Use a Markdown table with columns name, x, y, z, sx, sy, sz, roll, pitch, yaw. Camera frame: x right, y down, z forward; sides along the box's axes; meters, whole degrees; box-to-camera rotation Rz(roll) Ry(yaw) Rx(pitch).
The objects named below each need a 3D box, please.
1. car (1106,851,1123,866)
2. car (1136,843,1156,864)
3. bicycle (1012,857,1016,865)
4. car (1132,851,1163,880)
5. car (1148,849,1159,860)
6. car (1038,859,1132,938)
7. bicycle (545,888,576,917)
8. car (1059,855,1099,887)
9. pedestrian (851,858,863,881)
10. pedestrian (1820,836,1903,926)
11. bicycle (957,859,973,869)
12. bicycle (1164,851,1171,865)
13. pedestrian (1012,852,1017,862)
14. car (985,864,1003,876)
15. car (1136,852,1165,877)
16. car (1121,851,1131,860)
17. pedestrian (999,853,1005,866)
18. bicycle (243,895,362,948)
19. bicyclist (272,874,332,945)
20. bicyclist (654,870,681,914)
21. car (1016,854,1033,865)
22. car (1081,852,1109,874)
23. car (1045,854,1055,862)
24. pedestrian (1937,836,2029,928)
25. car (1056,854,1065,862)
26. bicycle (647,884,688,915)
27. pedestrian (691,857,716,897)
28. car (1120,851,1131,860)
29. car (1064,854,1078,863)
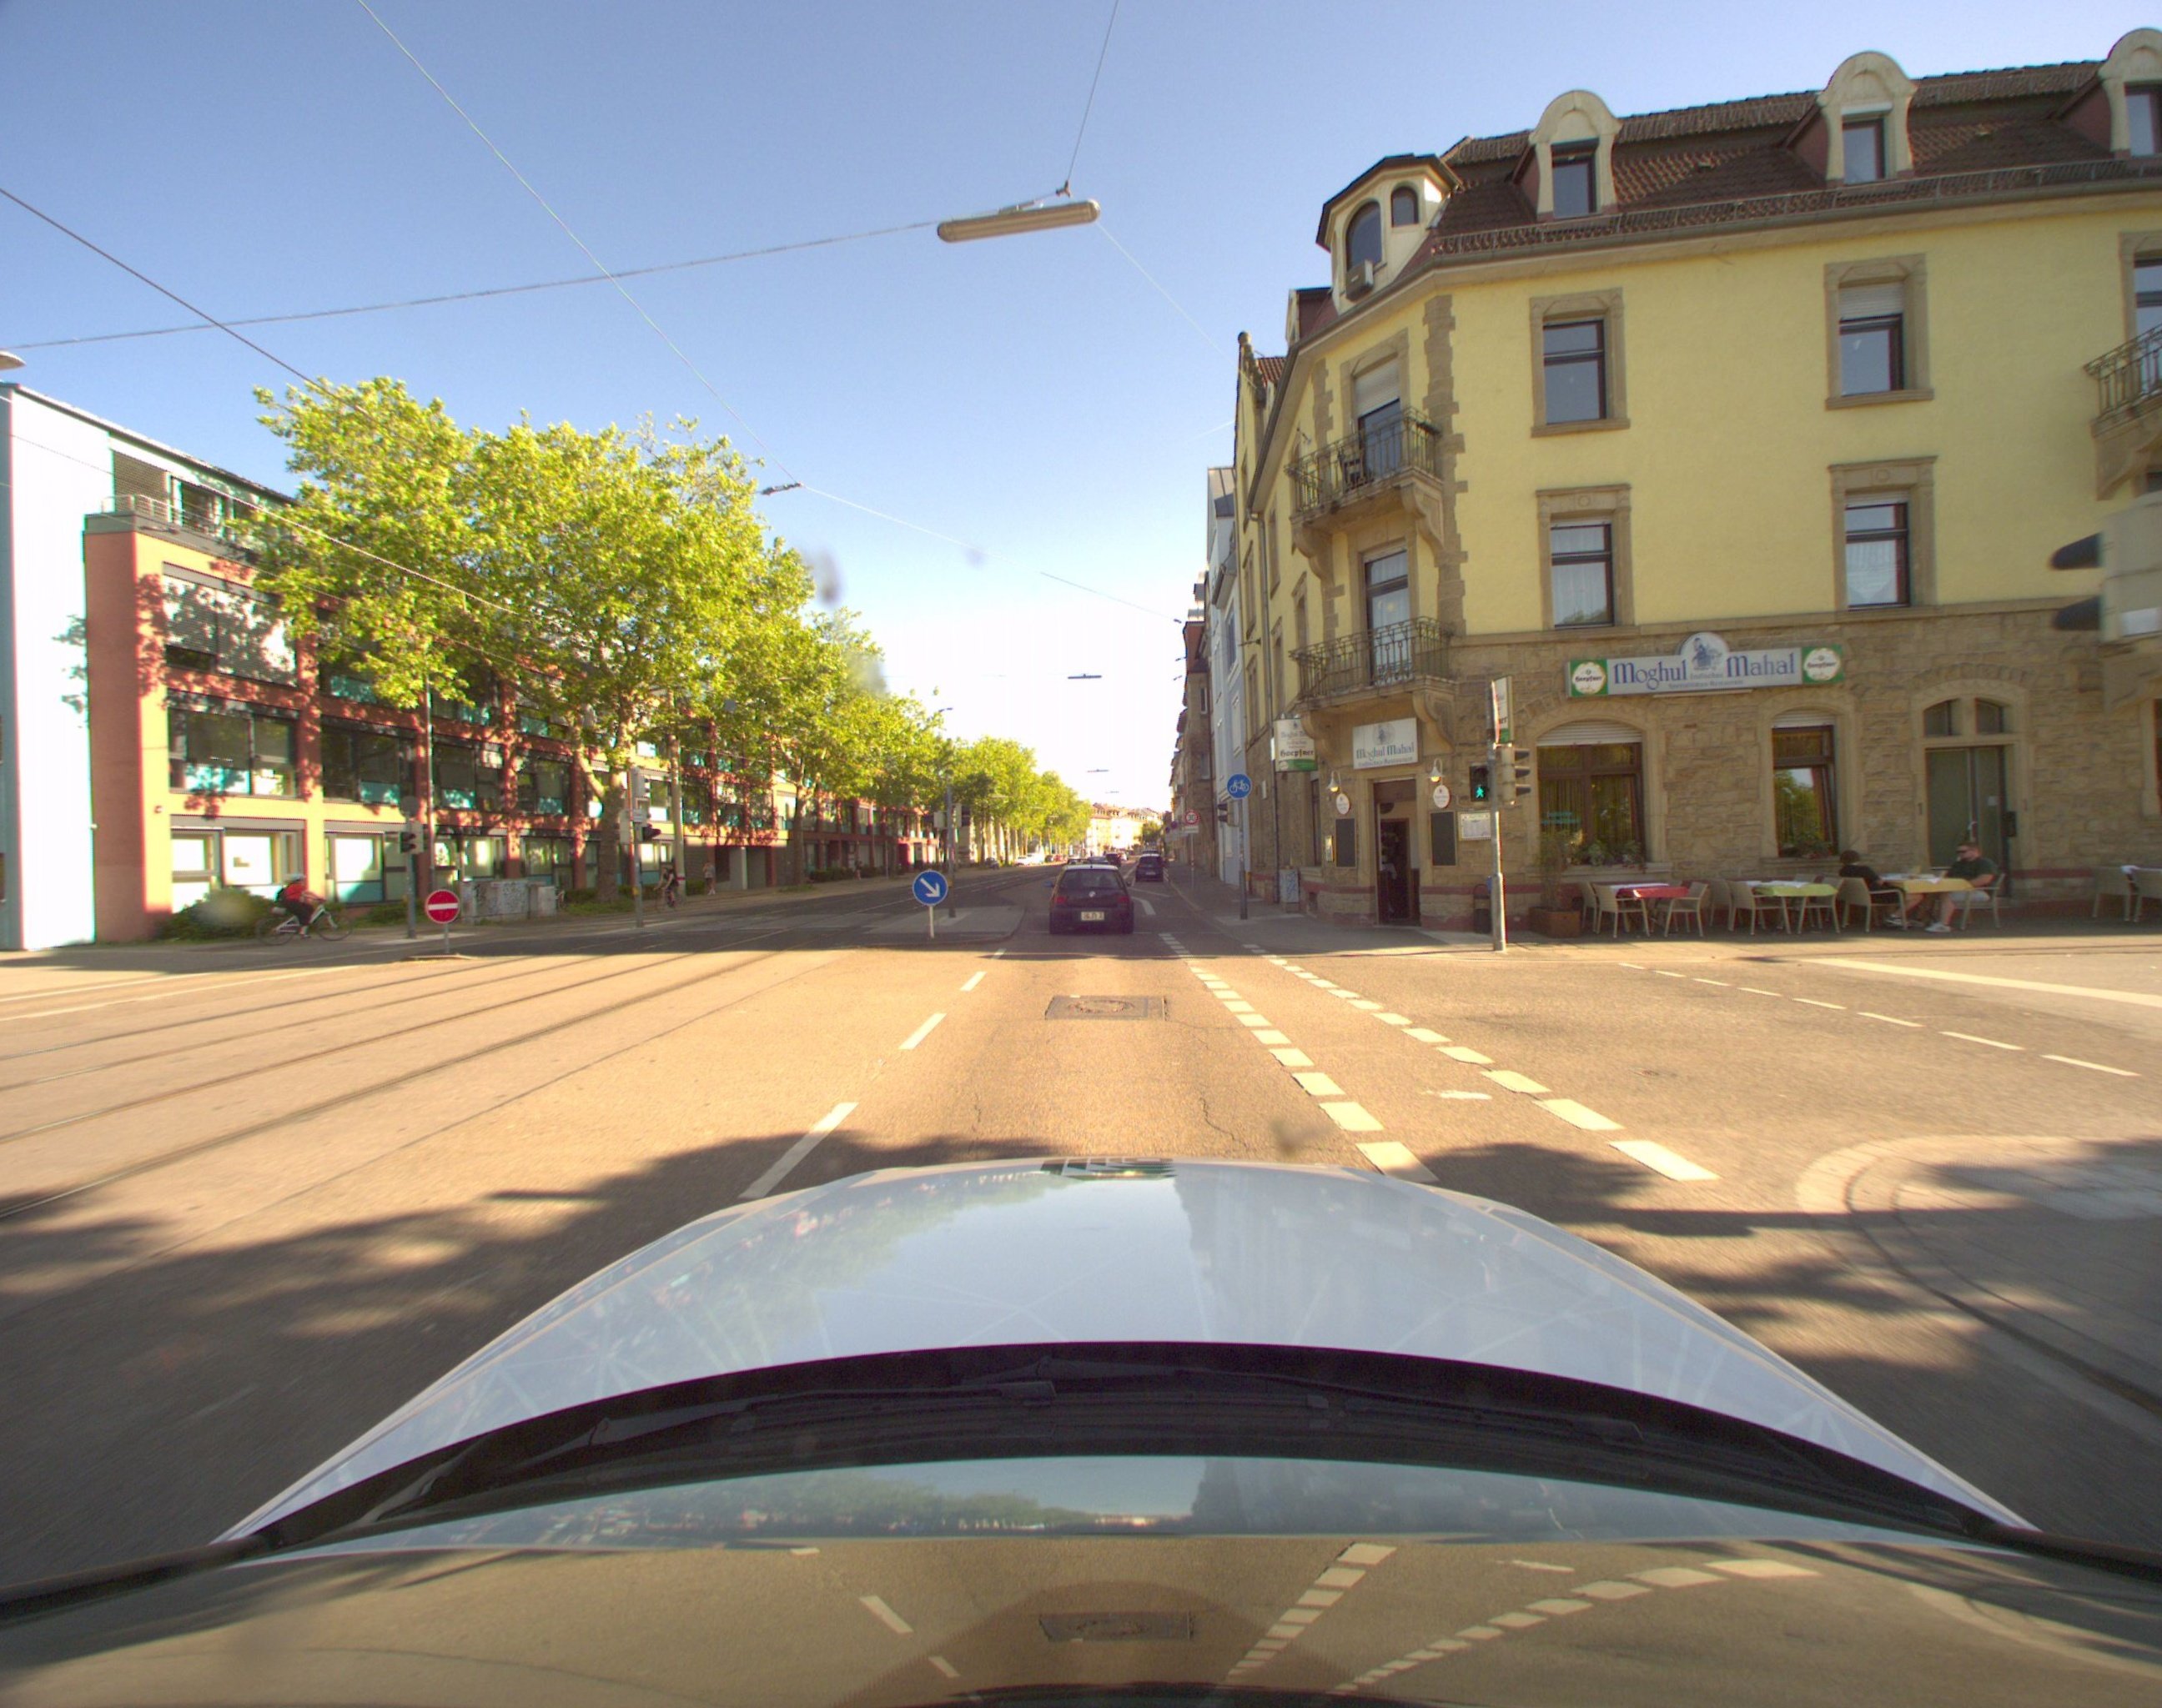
| name | x | y | z | sx | sy | sz | roll | pitch | yaw |
| --- | --- | --- | --- | --- | --- | --- | --- | --- | --- |
| car | 3.591 | 0.434 | 86.151 | 1.628 | 1.472 | 3.734 | -2 | 0 | 5 |
| car | 6.140 | -0.078 | 76.704 | 1.744 | 1.855 | 4.822 | -1 | 0 | 5 |
| bicycle | -9.843 | 1.046 | 119.711 | 0.579 | 1.209 | 1.653 | 0 | 0 | -1 |
| car | 3.731 | 0.615 | 45.875 | 1.647 | 1.482 | 4.005 | -1 | 0 | 4 |
| car | 12.423 | 0.059 | 139.980 | 1.751 | 1.837 | 3.552 | 0 | 1 | 5 |
| car | 0.200 | 0.871 | 17.613 | 1.741 | 1.375 | 4.004 | -2 | 0 | 3 |
| bicycle | -18.318 | 1.694 | 28.683 | 0.522 | 0.906 | 1.534 | -2 | 0 | -19 |
| car | -0.047 | 0.878 | 43.892 | 1.740 | 1.537 | 3.897 | -2 | 0 | 5 |
| pedestrian | -17.280 | 1.180 | 62.963 | 0.622 | 1.718 | 0.901 | 0 | 0 | 4 |
| pedestrian | 12.041 | 0.403 | 12.577 | 0.635 | 1.360 | 0.703 | 0 | 0 | 5 |
| bicycle | -15.350 | 1.371 | 107.816 | 1.999 | 1.278 | 0.665 | -1 | 0 | 4 |
| bicycle | 7.858 | 0.351 | 74.263 | 0.512 | 1.139 | 2.261 | -4 | 0 | 4 |
| pedestrian | -11.976 | 0.558 | 146.677 | 0.793 | 1.820 | 0.671 | 0 | 0 | 4 |
| car | -10.754 | 2.015 | 100.931 | 1.500 | 1.454 | 3.468 | -2 | -2 | 5 |
| car | 4.418 | 0.608 | 51.388 | 1.744 | 1.500 | 4.203 | 0 | 0 | 6 |
| car | 8.073 | 0.237 | 147.104 | 1.628 | 1.472 | 3.734 | -2 | 0 | 5 |
| pedestrian | -11.392 | 0.767 | 117.420 | 0.785 | 1.870 | 0.668 | 0 | 0 | -10 |
| bicycle | -19.372 | 1.646 | 20.314 | 0.625 | 1.129 | 2.048 | 0 | 1 | 30 |
| bicyclist | -19.395 | 1.362 | 20.277 | 0.599 | 1.692 | 0.938 | 0 | 0 | 30 |
| bicyclist | -15.442 | 1.411 | 30.439 | 0.643 | 1.611 | 0.780 | 0 | 0 | -4 |
| car | -8.670 | 0.852 | 125.237 | 2.003 | 1.572 | 4.698 | 0 | 1 | 3 |
| car | 1.105 | 0.658 | 60.737 | 1.740 | 1.537 | 3.897 | -2 | 0 | 5 |
| car | -6.029 | 0.867 | 159.742 | 1.563 | 1.533 | 3.577 | -2 | -1 | 5 |
| pedestrian | 13.658 | 0.408 | 12.356 | 0.635 | 1.360 | 0.703 | 0 | 0 | 5 |
| car | -4.489 | 0.833 | 176.280 | 1.563 | 1.533 | 3.577 | -2 | -1 | 5 |
| bicycle | -15.439 | 1.688 | 30.426 | 0.643 | 1.042 | 1.923 | 0 | 1 | -4 |
| pedestrian | -19.358 | 1.190 | 41.748 | 0.908 | 2.013 | 0.780 | 0 | 0 | -4 |
| car | 7.229 | 0.224 | 131.358 | 1.628 | 1.472 | 3.734 | -2 | 0 | 5 |
| car | -1.856 | 0.886 | 156.030 | 1.742 | 1.518 | 4.083 | -4 | 0 | 10 |
